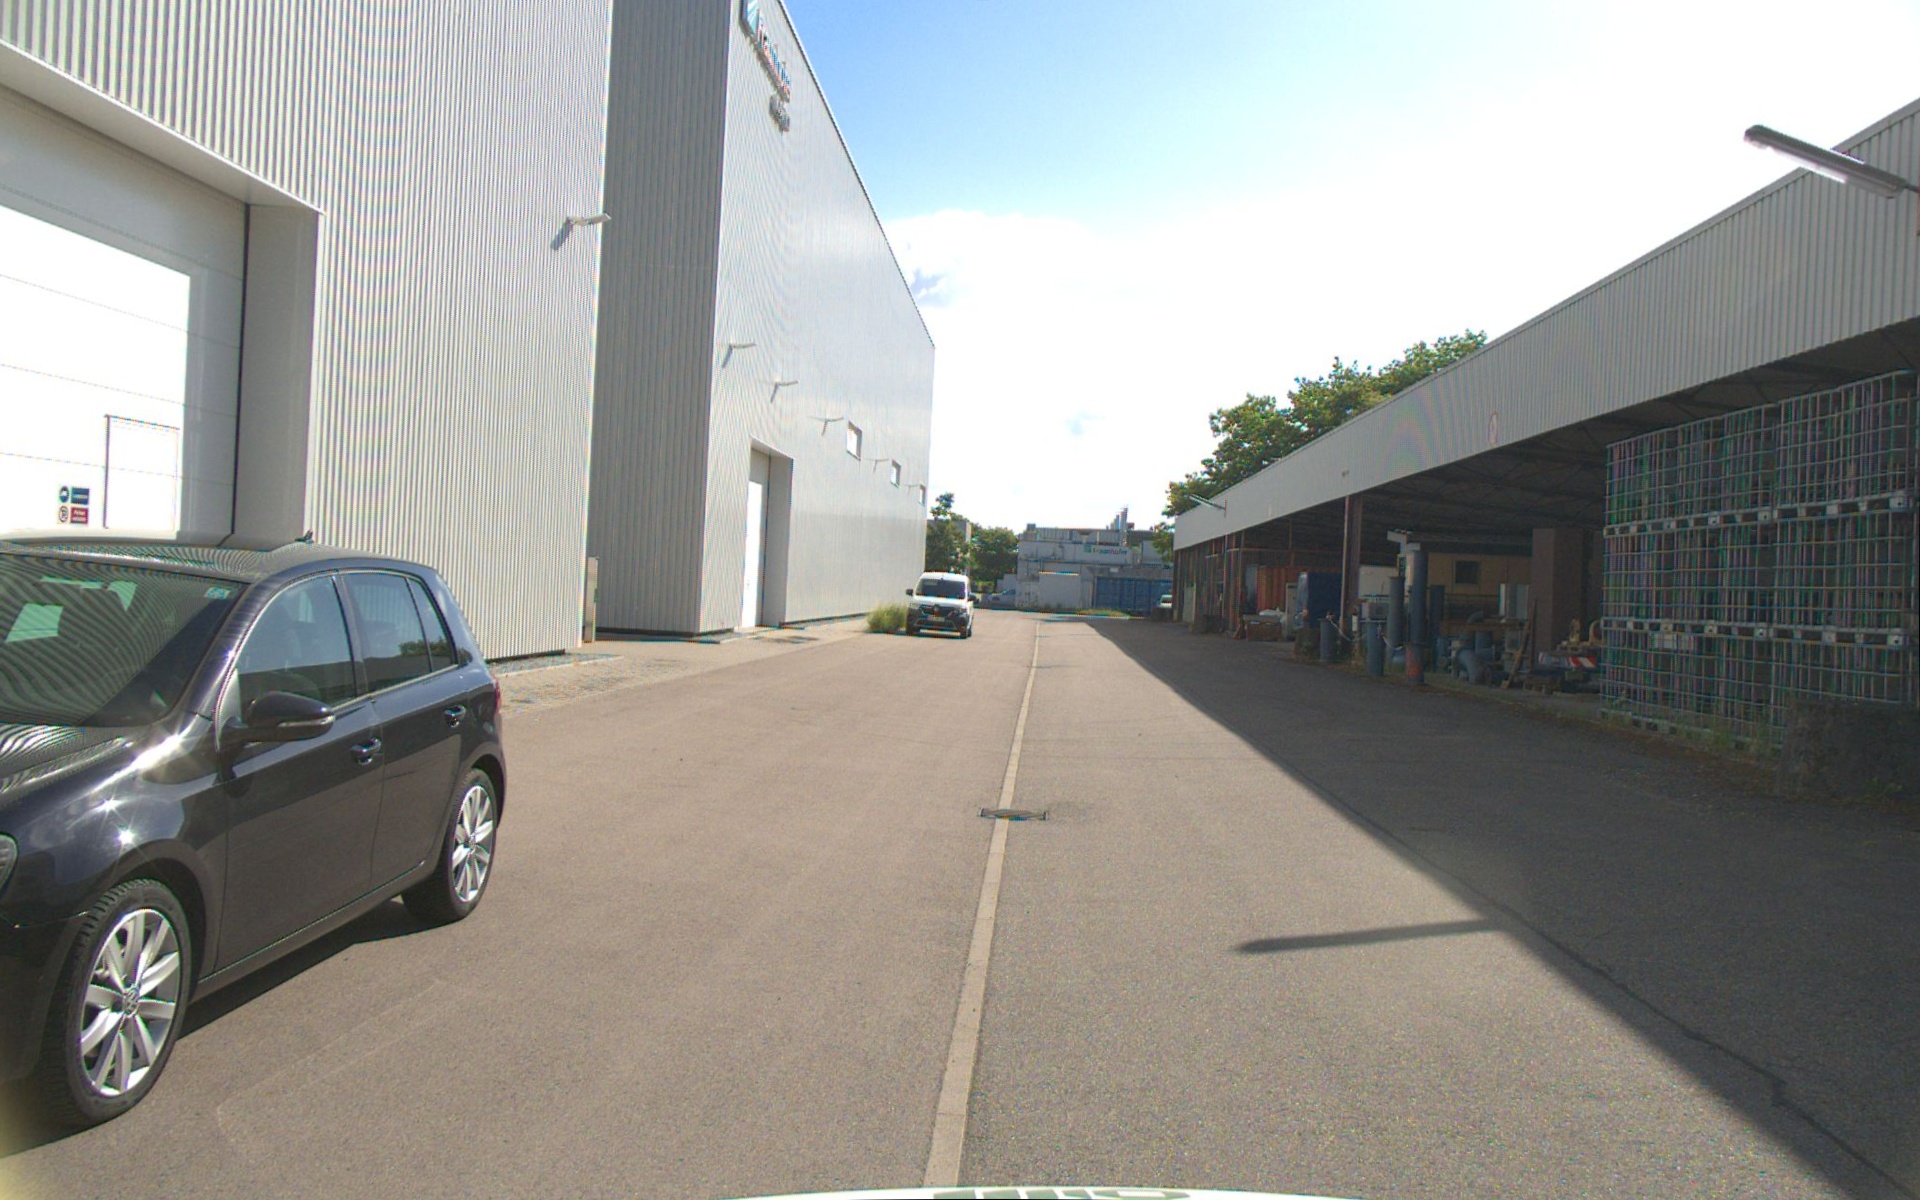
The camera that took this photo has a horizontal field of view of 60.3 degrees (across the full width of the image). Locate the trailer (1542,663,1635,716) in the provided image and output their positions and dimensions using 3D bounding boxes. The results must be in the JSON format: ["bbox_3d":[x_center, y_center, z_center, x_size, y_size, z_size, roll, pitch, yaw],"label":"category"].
[{"bbox_3d":[8.643,1.225,22.777,0.951,0.577,0.732,5,2,-2],"label":"trailer"}]

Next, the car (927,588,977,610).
[{"bbox_3d":[-0.598,-0.090,130.190,3.804,1.487,1.623,3,0,2],"label":"car"}]

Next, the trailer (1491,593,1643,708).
[{"bbox_3d":[9.487,0.758,25.967,1.515,1.544,1.913,5,2,-2],"label":"trailer"}]

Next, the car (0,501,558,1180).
[{"bbox_3d":[-2.770,0.468,5.457,1.617,1.470,3.879,6,0,3],"label":"car"}]

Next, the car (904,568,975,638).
[{"bbox_3d":[-0.557,0.077,48.207,1.869,1.825,4.000,3,0,1],"label":"car"}]

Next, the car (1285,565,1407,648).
[{"bbox_3d":[12.311,0.196,52.951,3.432,2.484,2.001,2,0,3],"label":"car"}]

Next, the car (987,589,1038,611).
[{"bbox_3d":[4.105,-0.024,129.131,3.803,1.487,1.624,3,0,5],"label":"car"}]

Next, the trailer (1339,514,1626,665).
[{"bbox_3d":[13.065,-0.275,41.763,6.256,3.429,2.825,2,0,2],"label":"trailer"}]
